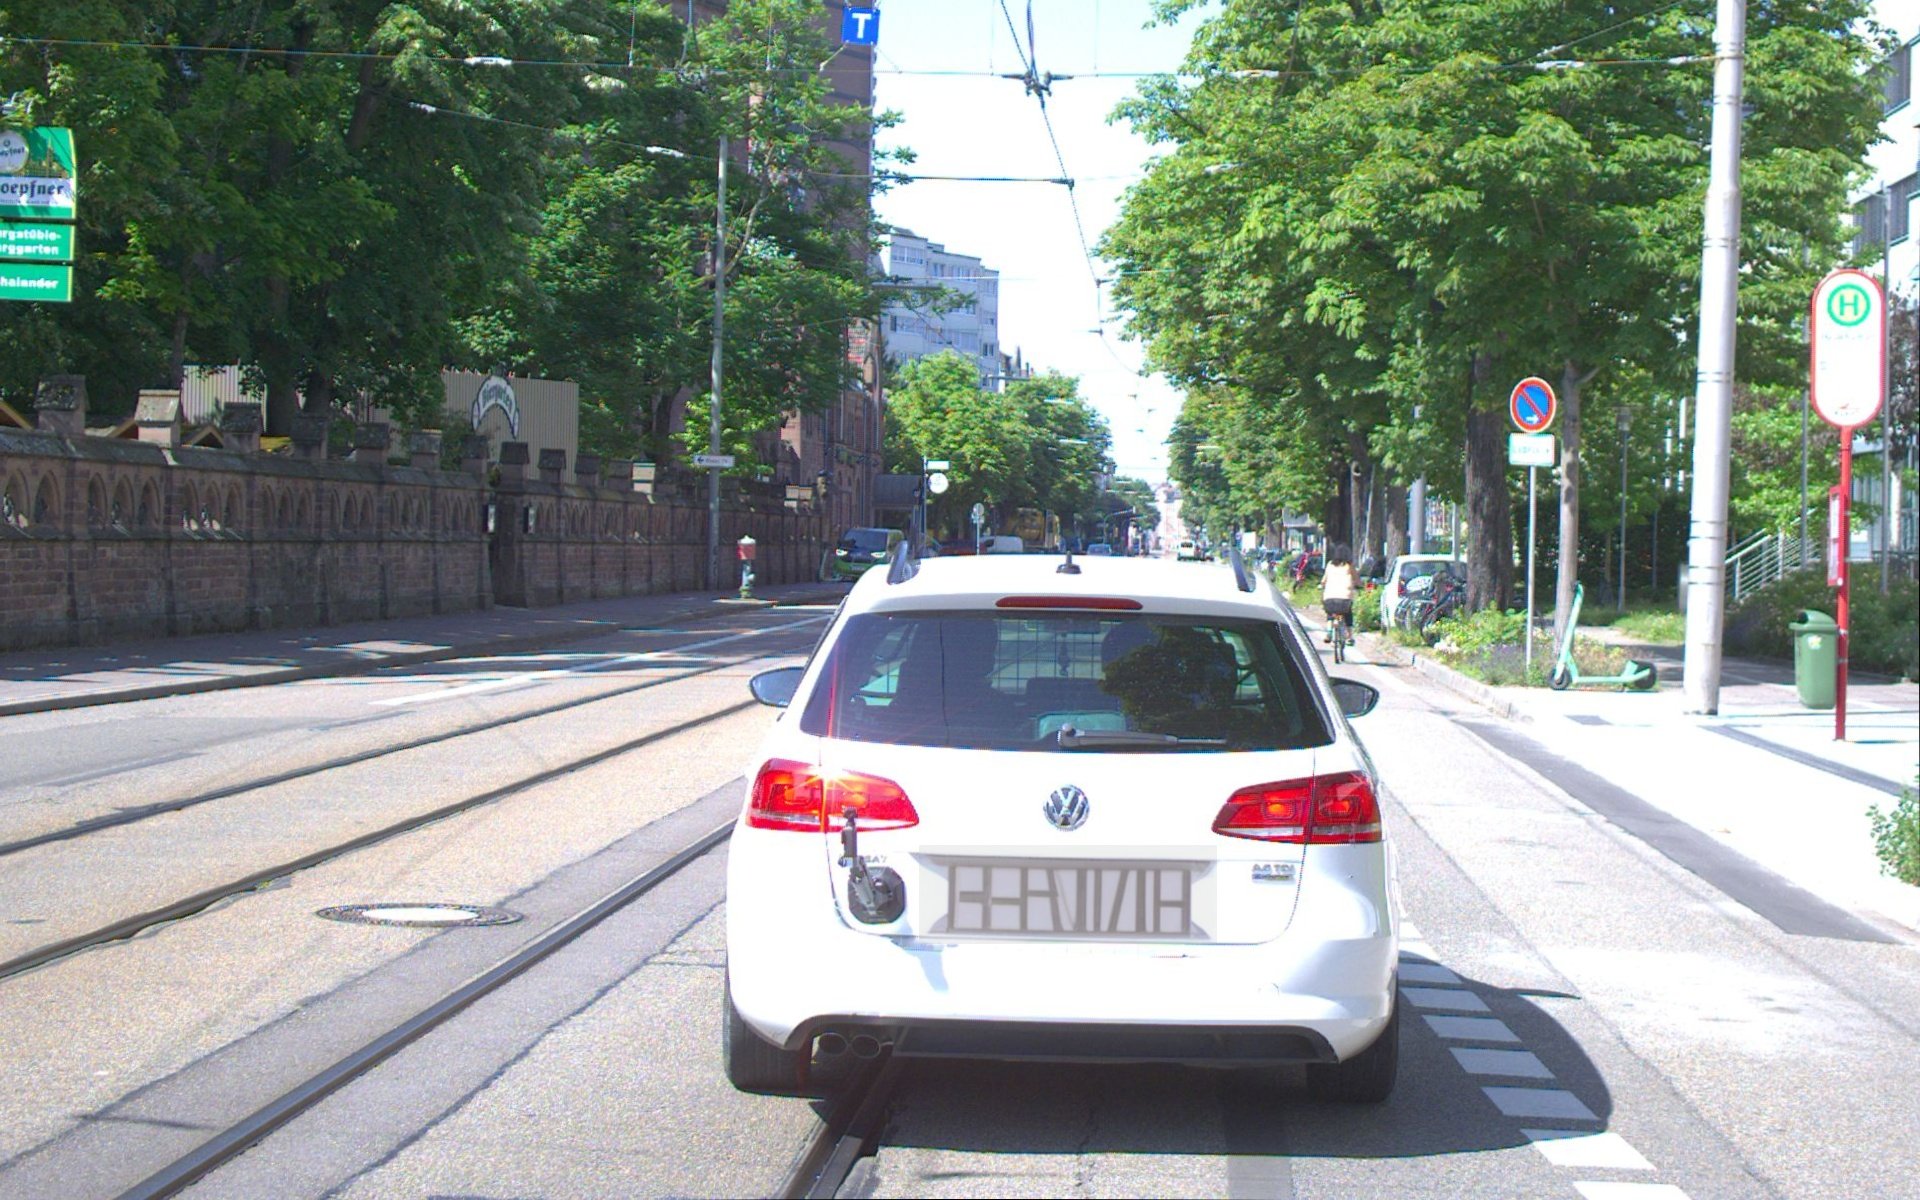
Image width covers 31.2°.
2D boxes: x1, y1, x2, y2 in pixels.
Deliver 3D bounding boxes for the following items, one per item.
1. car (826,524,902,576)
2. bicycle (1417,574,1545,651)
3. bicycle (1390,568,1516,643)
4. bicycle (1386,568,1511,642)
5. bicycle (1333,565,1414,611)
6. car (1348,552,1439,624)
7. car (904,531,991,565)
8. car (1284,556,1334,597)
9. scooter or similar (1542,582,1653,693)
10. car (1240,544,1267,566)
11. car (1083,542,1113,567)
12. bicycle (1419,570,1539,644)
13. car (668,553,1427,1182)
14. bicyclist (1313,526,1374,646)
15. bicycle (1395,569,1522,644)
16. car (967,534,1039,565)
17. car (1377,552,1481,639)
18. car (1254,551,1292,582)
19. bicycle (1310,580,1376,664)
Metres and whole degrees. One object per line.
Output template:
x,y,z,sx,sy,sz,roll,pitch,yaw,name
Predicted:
-3.356,-1.757,120.995,1.994,1.751,4.711,1,1,6,car
7.599,0.179,50.199,1.774,1.079,0.596,1,1,2,bicycle
7.994,0.081,55.778,1.911,1.079,0.551,4,1,2,bicycle
8.014,0.076,56.392,1.911,1.079,0.551,4,1,2,bicycle
9.523,-0.275,79.227,1.787,1.007,0.488,1,1,0,bicycle
9.164,-0.277,72.921,1.664,1.439,4.633,1,1,5,car
-0.680,-2.713,180.656,4.116,1.525,1.933,3,2,-17,car
12.372,-0.857,121.945,1.714,1.396,3.842,1,1,6,car
6.910,0.401,37.272,1.143,1.150,0.493,2,1,10,scooter or similar
19.355,-2.986,226.808,1.713,1.396,3.842,1,1,5,car
7.766,-2.577,193.418,1.493,1.380,3.642,1,1,5,car
8.138,0.103,53.915,1.774,1.116,0.596,1,1,2,bicycle
0.313,0.587,10.187,1.754,1.437,4.412,0,1,3,car
5.292,-0.198,47.477,0.786,1.623,0.738,1,1,4,bicyclist
7.995,0.098,55.178,1.911,1.079,0.551,3,1,2,bicycle
2.684,-3.144,213.616,3.987,1.809,2.000,0,1,-31,car
8.288,-0.098,60.955,1.591,1.446,3.945,1,1,5,car
14.684,-1.591,161.247,1.714,1.396,3.842,1,1,5,car
5.269,0.289,47.368,0.811,1.074,2.012,2,1,5,bicycle
